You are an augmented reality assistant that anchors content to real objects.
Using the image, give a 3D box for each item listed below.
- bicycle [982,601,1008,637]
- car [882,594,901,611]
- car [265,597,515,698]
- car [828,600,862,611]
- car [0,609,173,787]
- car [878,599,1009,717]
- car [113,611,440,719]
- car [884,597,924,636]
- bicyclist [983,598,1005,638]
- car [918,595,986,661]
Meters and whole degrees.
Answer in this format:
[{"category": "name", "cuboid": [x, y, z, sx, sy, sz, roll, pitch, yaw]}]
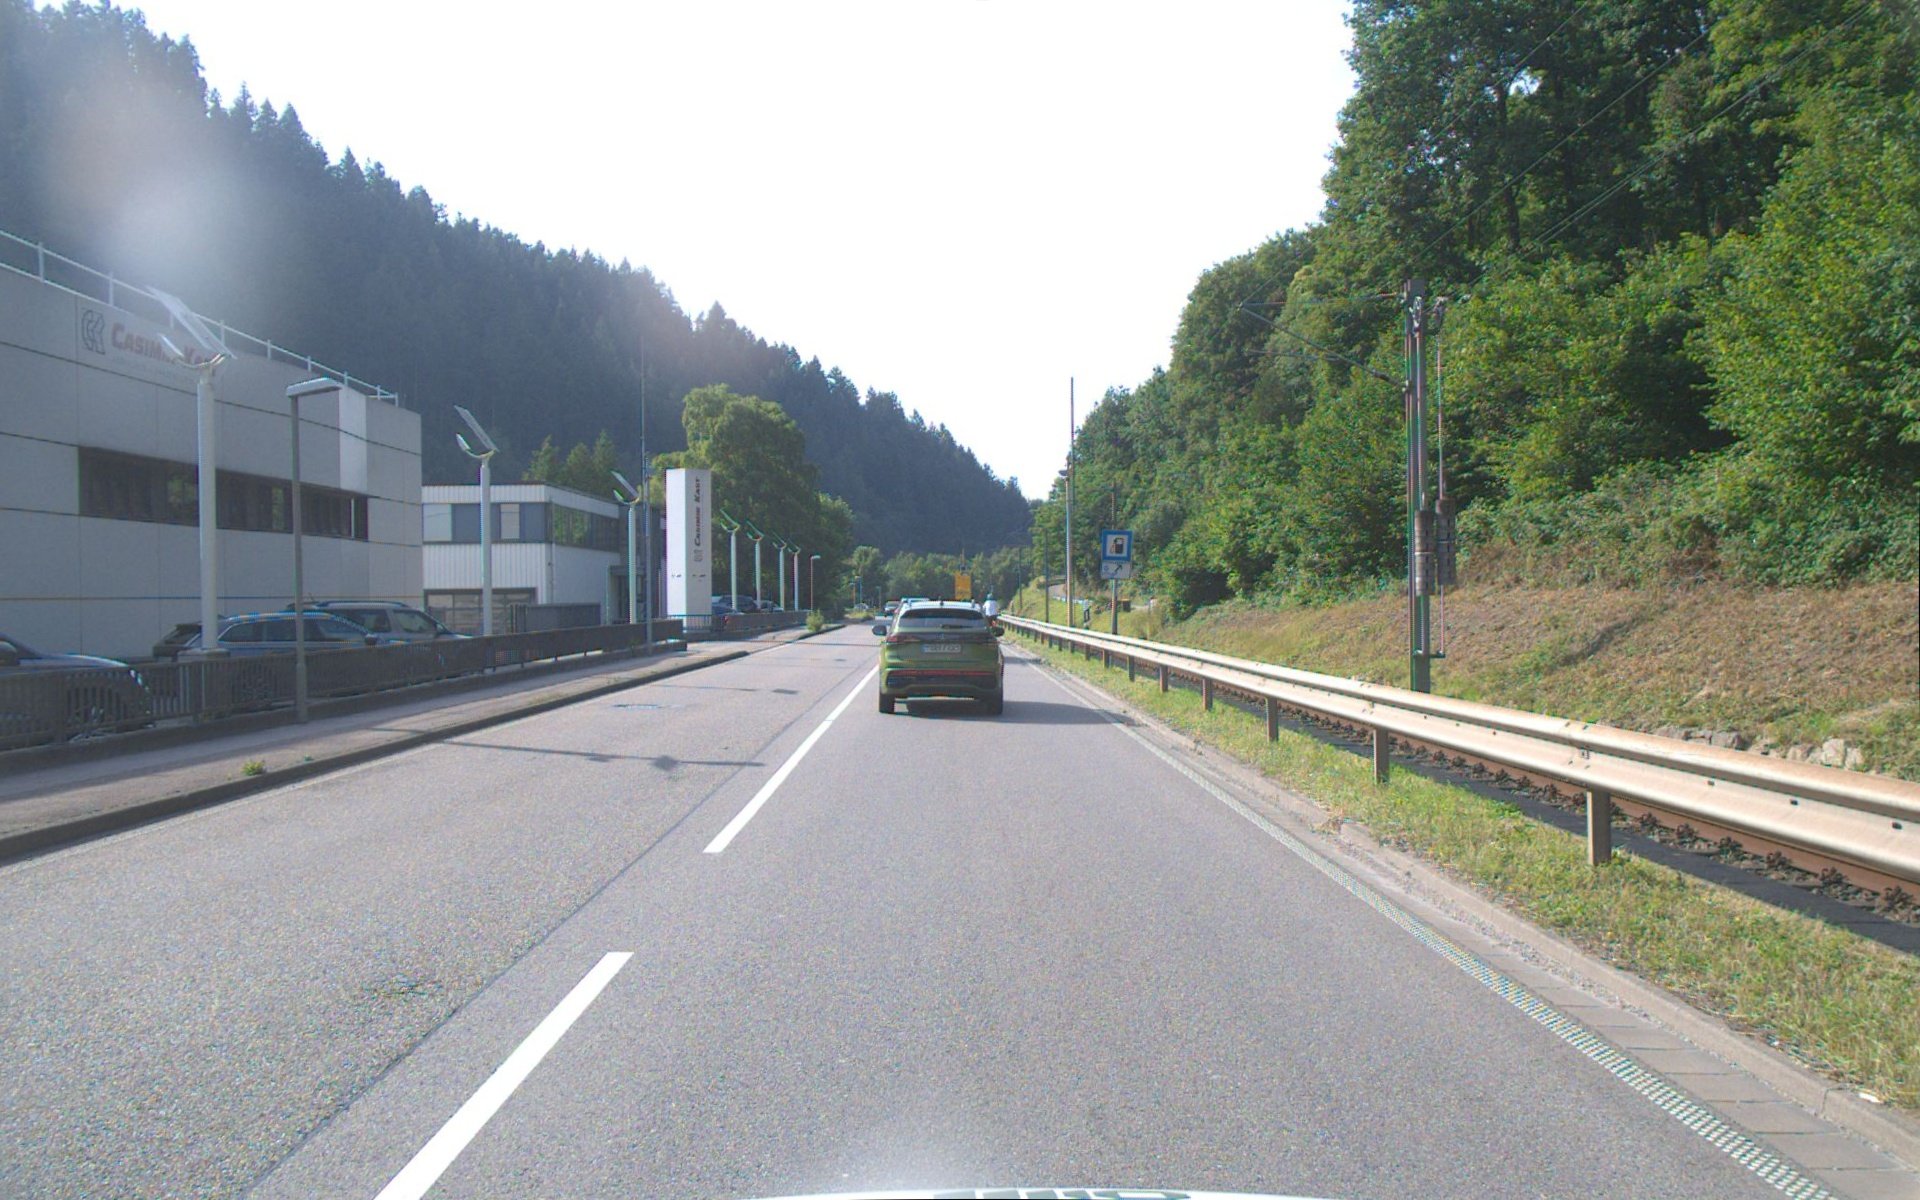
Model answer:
[{"category": "bicycle", "cuboid": [1.257, 0.686, 60.308, 0.795, 1.272, 2.121, 0, 0, -3]}, {"category": "car", "cuboid": [-6.438, 0.205, 156.595, 1.643, 1.511, 4.245, -3, 0, -1]}, {"category": "car", "cuboid": [-10.452, 0.820, 30.535, 1.749, 1.738, 4.088, 0, 0, 40]}, {"category": "car", "cuboid": [-14.831, 0.724, 213.202, 4.172, 1.458, 1.556, 0, 0, 0]}, {"category": "car", "cuboid": [-9.810, 0.905, 15.368, 1.854, 1.619, 4.152, 0, 0, 40]}, {"category": "car", "cuboid": [-0.276, 0.753, 23.508, 1.704, 1.534, 3.998, 0, 0, -2]}, {"category": "car", "cuboid": [-10.709, 0.957, 26.183, 1.854, 1.521, 4.464, 0, 0, 40]}, {"category": "car", "cuboid": [-2.442, 0.700, 72.554, 1.704, 1.630, 3.998, 0, 0, -2]}, {"category": "bicyclist", "cuboid": [1.240, 0.660, 60.449, 0.766, 1.436, 0.674, 0, 0, -3]}, {"category": "car", "cuboid": [-0.252, 0.707, 43.643, 1.704, 1.630, 3.998, 0, 0, -2]}]
